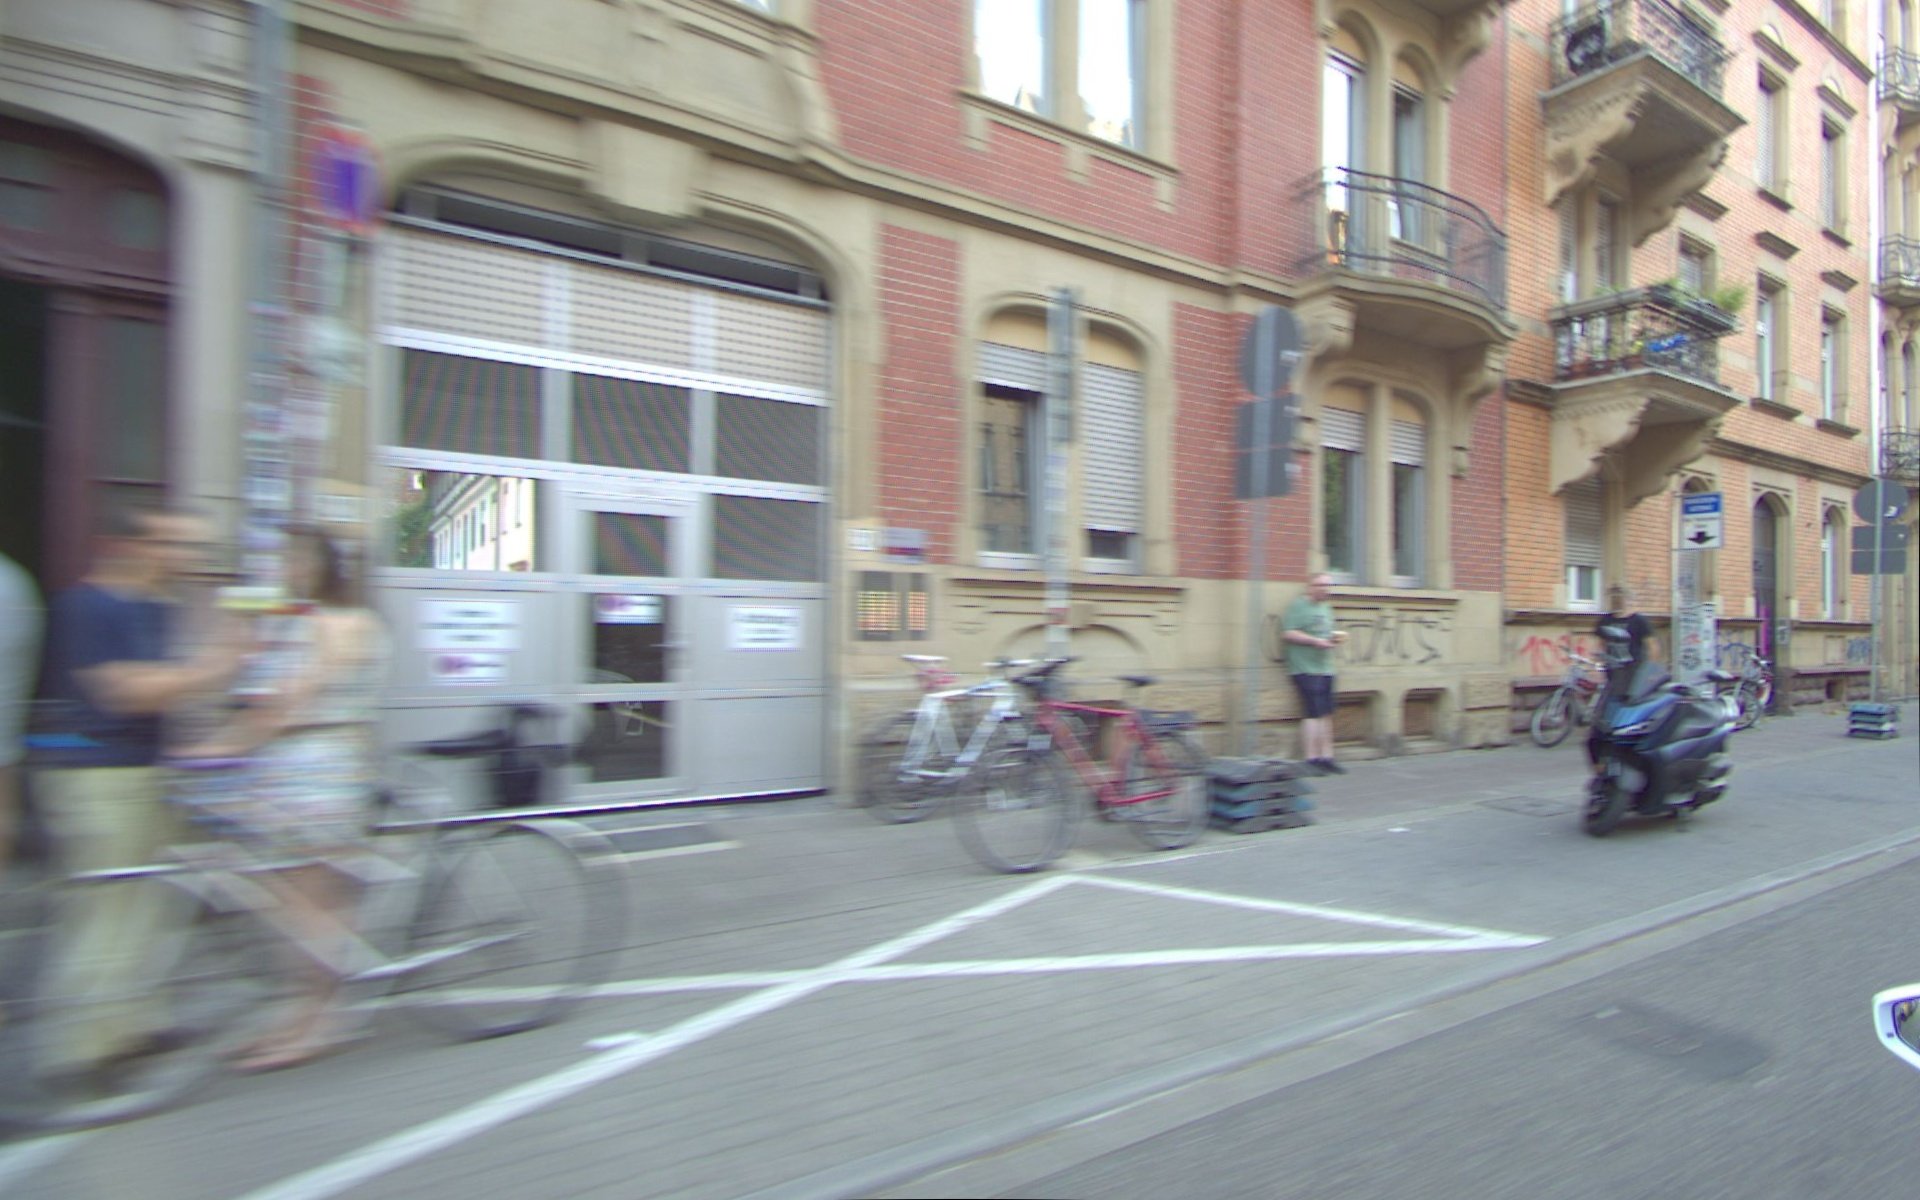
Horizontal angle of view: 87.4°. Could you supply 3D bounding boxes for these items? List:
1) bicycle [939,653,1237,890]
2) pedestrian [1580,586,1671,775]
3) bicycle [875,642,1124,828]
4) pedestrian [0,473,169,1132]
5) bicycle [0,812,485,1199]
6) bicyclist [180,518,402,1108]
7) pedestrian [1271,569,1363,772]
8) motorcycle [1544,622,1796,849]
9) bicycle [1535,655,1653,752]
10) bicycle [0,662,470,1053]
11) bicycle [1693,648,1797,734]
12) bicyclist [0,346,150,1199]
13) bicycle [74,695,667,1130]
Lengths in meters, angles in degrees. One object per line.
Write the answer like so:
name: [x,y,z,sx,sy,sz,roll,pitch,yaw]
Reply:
bicycle: [0.779,0.906,5.741,1.817,1.175,0.409,2,0,-32]
pedestrian: [6.900,0.796,10.404,0.673,1.834,0.957,2,0,39]
bicycle: [0.319,0.903,7.090,1.817,1.175,0.409,2,0,-32]
pedestrian: [-2.530,0.538,2.888,0.347,1.731,0.415,2,0,-37]
bicycle: [-1.497,0.855,1.091,1.747,1.170,0.521,2,0,9]
bicyclist: [-2.006,0.589,3.067,0.481,1.611,0.463,2,0,-29]
pedestrian: [3.319,0.637,9.335,0.634,1.813,0.461,2,0,-29]
motorcycle: [5.089,0.897,7.162,1.991,1.423,0.681,2,0,-30]
bicycle: [7.416,1.177,11.716,1.721,1.043,0.445,2,0,-32]
bicycle: [-2.785,0.812,3.409,1.974,1.170,0.464,2,0,-26]
bicycle: [11.289,1.270,14.416,2.008,1.116,0.743,2,0,-39]
bicyclist: [-1.511,0.561,1.108,0.773,1.726,0.529,2,0,8]
bicycle: [-1.769,0.876,3.216,1.502,1.082,0.463,2,0,-30]
